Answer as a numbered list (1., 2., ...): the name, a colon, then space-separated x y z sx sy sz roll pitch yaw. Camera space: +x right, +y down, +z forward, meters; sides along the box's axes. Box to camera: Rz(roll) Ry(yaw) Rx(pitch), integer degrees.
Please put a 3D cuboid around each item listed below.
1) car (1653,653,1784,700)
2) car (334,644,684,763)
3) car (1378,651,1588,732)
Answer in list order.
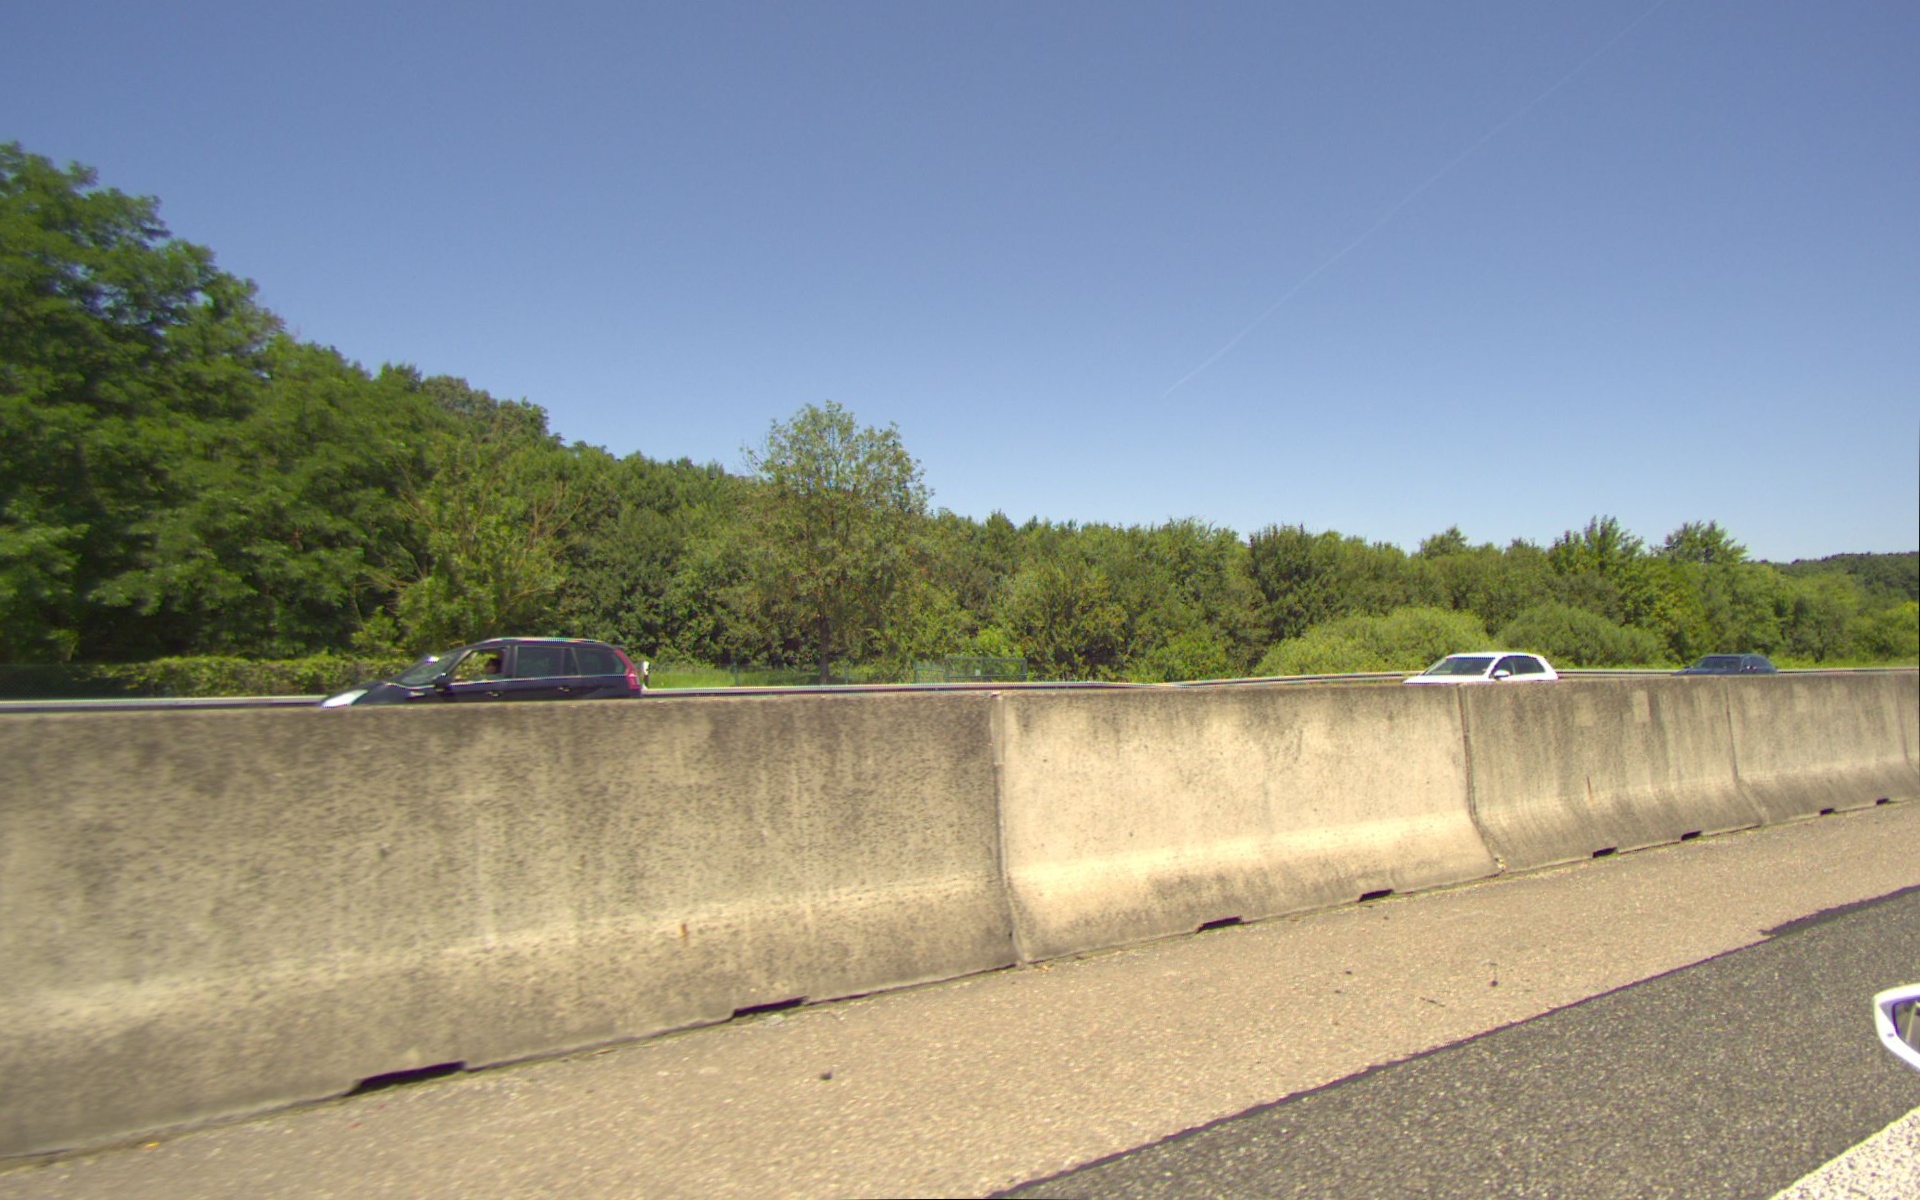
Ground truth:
1. car: 26.064 2.579 34.490 4.768 1.498 1.900 2 -4 -30
2. car: -6.800 1.482 15.407 4.629 1.578 1.984 2 -3 -30
3. car: 11.152 1.866 21.330 4.629 1.558 1.766 2 -3 -30
